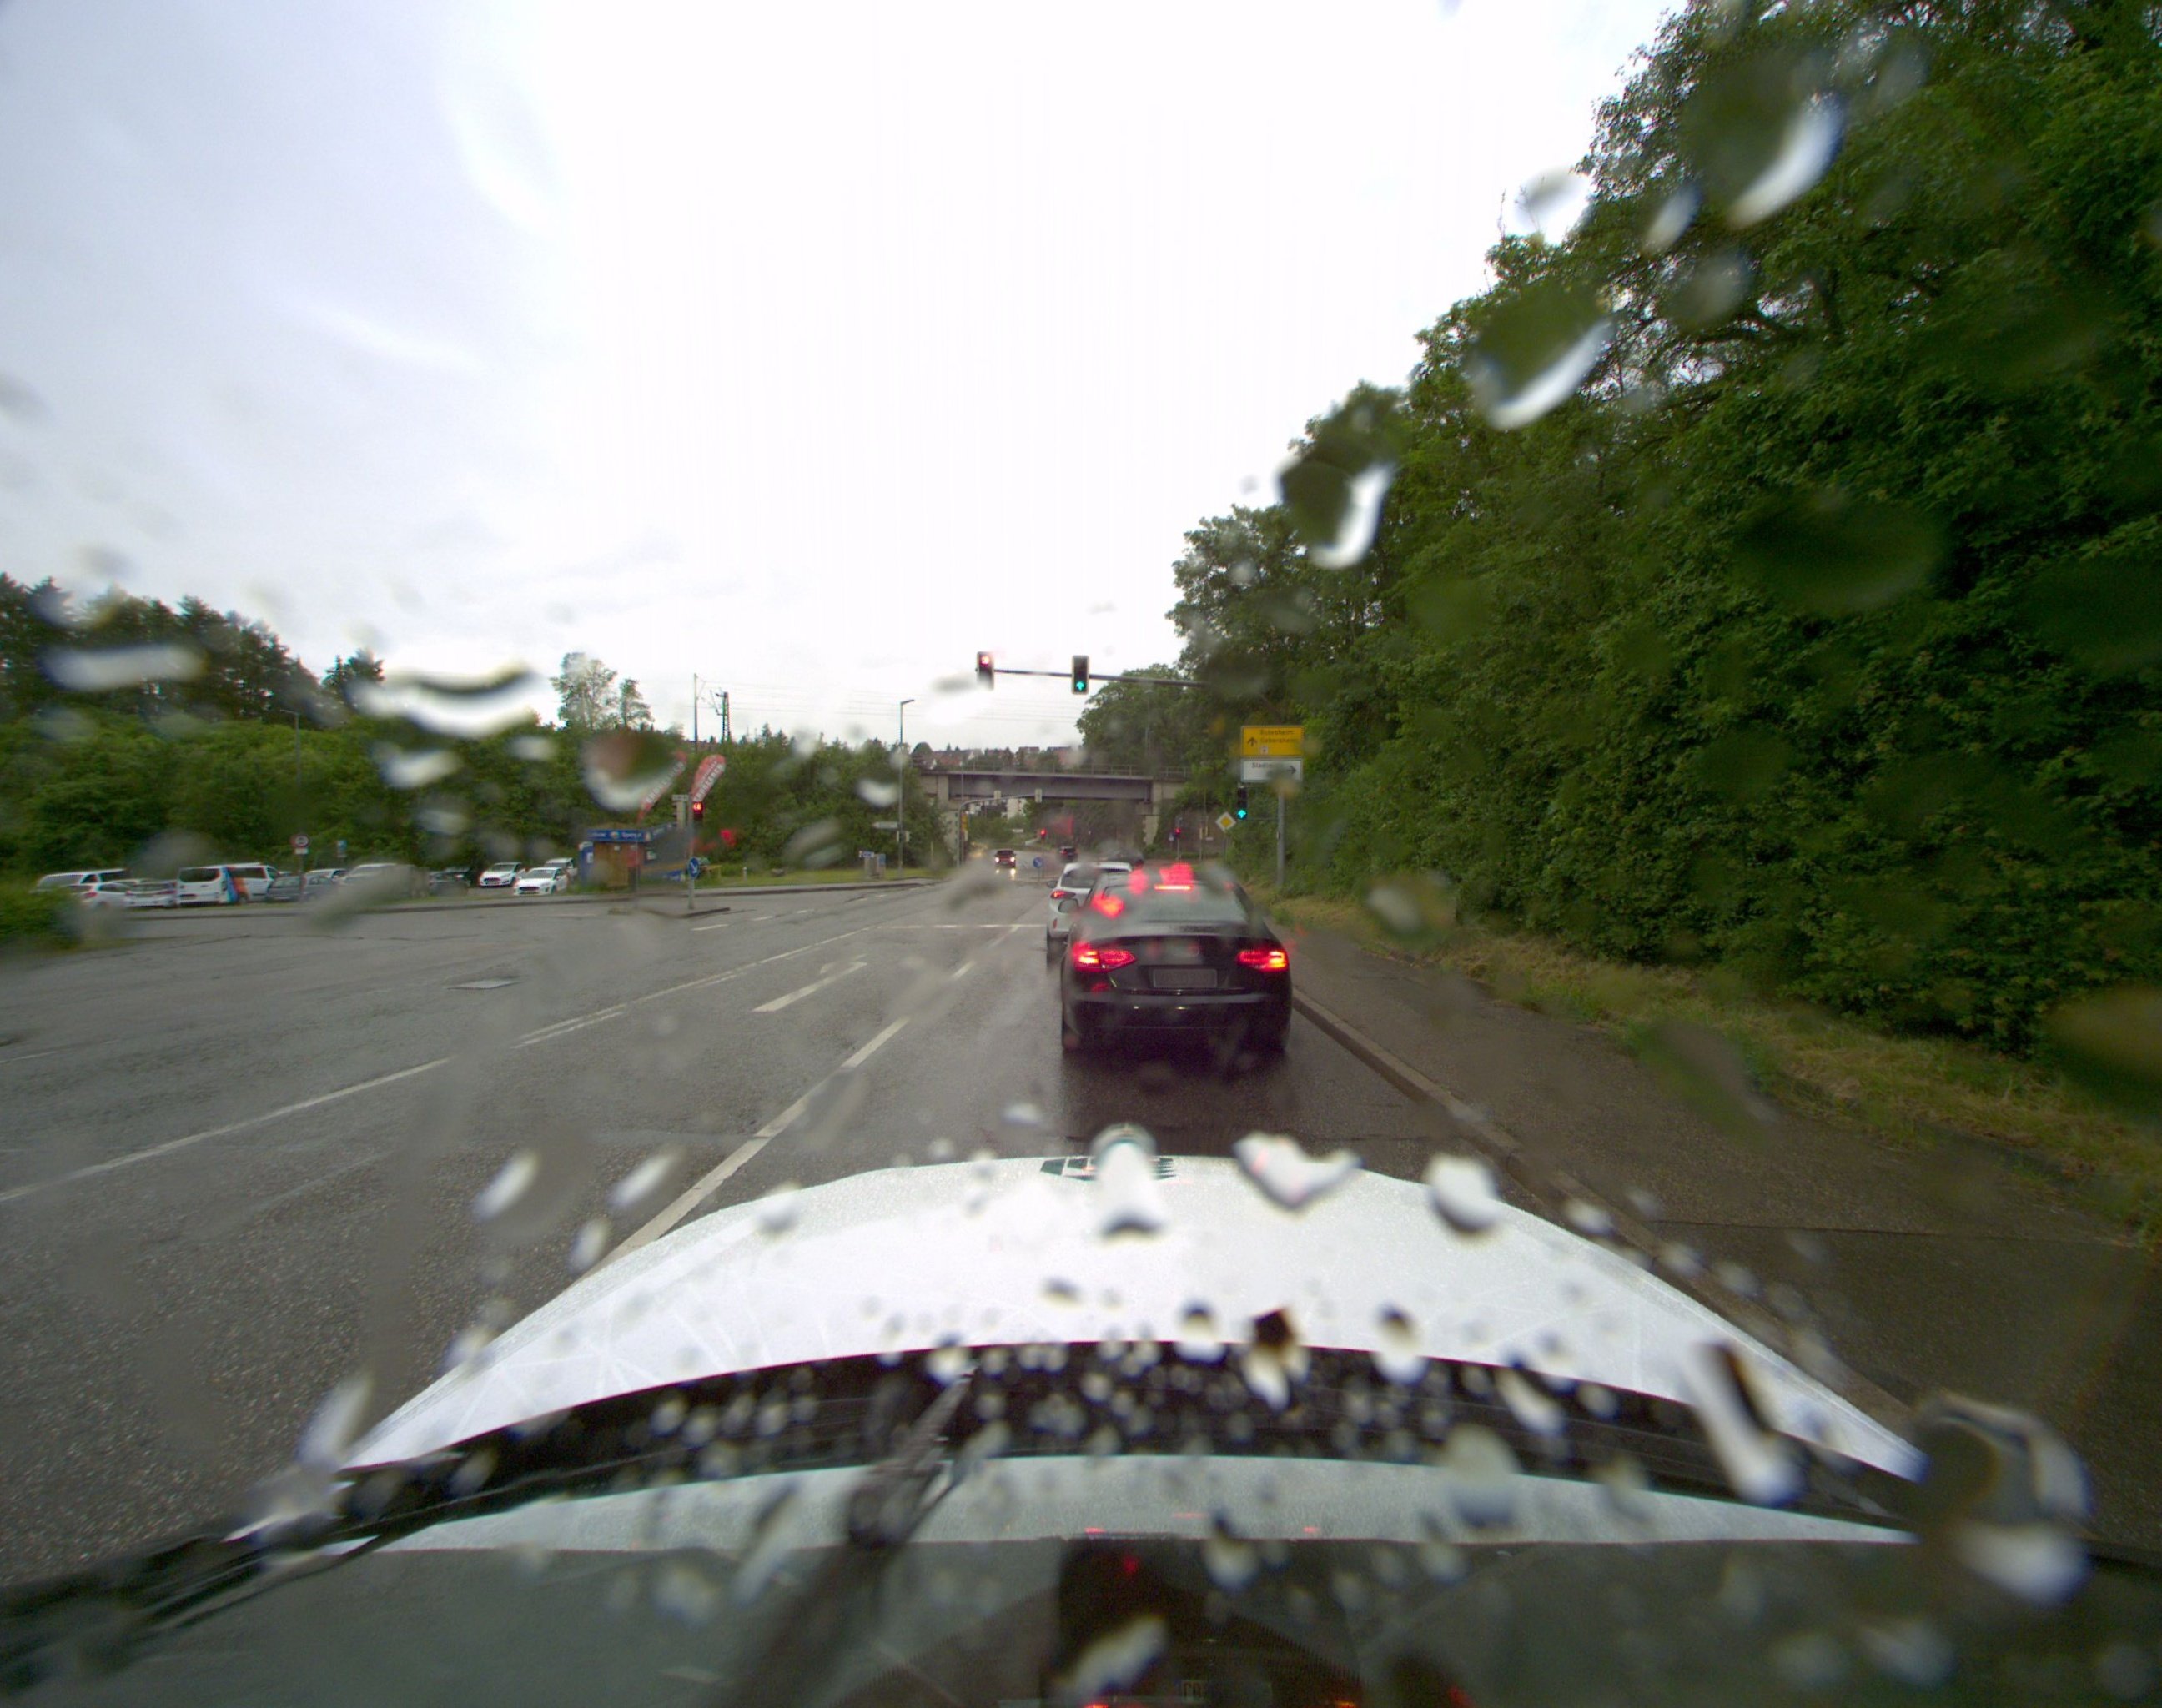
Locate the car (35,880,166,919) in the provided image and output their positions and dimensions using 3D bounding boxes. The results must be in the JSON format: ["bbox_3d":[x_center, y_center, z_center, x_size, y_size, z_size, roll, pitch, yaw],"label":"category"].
[{"bbox_3d":[-44.370,2.011,36.994,1.837,1.585,3.978,0,-1,-16],"label":"car"}]

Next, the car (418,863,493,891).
[{"bbox_3d":[-37.957,1.369,49.562,1.994,1.585,3.984,0,-1,-11],"label":"car"}]

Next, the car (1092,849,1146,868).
[{"bbox_3d":[3.026,0.326,64.897,4.003,1.470,1.632,0,0,-23],"label":"car"}]

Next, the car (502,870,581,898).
[{"bbox_3d":[-27.859,1.518,42.268,1.652,1.340,4.883,0,-1,-11],"label":"car"}]

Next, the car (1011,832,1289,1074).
[{"bbox_3d":[0.527,0.710,7.532,1.863,1.617,4.001,-1,-1,2],"label":"car"}]

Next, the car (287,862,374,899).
[{"bbox_3d":[-44.776,1.527,48.701,1.995,2.013,3.983,-2,0,-12],"label":"car"}]

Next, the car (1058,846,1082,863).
[{"bbox_3d":[-1.193,0.049,85.642,1.992,1.596,3.990,-2,0,-7],"label":"car"}]

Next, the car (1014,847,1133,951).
[{"bbox_3d":[-0.058,0.734,14.535,1.816,1.585,4.001,-1,-1,2],"label":"car"}]

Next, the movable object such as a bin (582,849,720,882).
[{"bbox_3d":[-22.459,0.603,42.716,2.716,1.628,5.816,-2,-1,41],"label":"movable object such as a bin"}]

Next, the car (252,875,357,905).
[{"bbox_3d":[-37.171,1.706,39.123,1.751,1.310,3.984,0,-1,-11],"label":"car"}]

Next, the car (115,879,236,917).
[{"bbox_3d":[-41.736,1.973,37.702,1.858,1.585,3.978,0,-1,-16],"label":"car"}]

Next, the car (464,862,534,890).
[{"bbox_3d":[-35.511,1.344,49.810,1.994,1.585,3.984,0,-1,-11],"label":"car"}]

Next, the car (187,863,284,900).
[{"bbox_3d":[-49.182,1.562,47.487,1.995,2.013,3.983,-2,0,-12],"label":"car"}]

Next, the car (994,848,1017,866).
[{"bbox_3d":[-6.989,0.272,75.255,1.990,1.628,3.993,-1,0,-5],"label":"car"}]

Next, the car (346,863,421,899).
[{"bbox_3d":[-42.177,1.597,49.378,1.941,2.013,3.849,0,0,-15],"label":"car"}]

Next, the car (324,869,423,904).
[{"bbox_3d":[-34.629,1.555,40.019,1.937,1.585,3.892,0,-1,-11],"label":"car"}]

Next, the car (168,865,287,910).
[{"bbox_3d":[-39.449,1.499,37.781,1.997,1.949,3.978,0,-1,-16],"label":"car"}]

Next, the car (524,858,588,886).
[{"bbox_3d":[-32.620,1.083,50.724,1.994,1.585,3.985,-2,0,-11],"label":"car"}]
